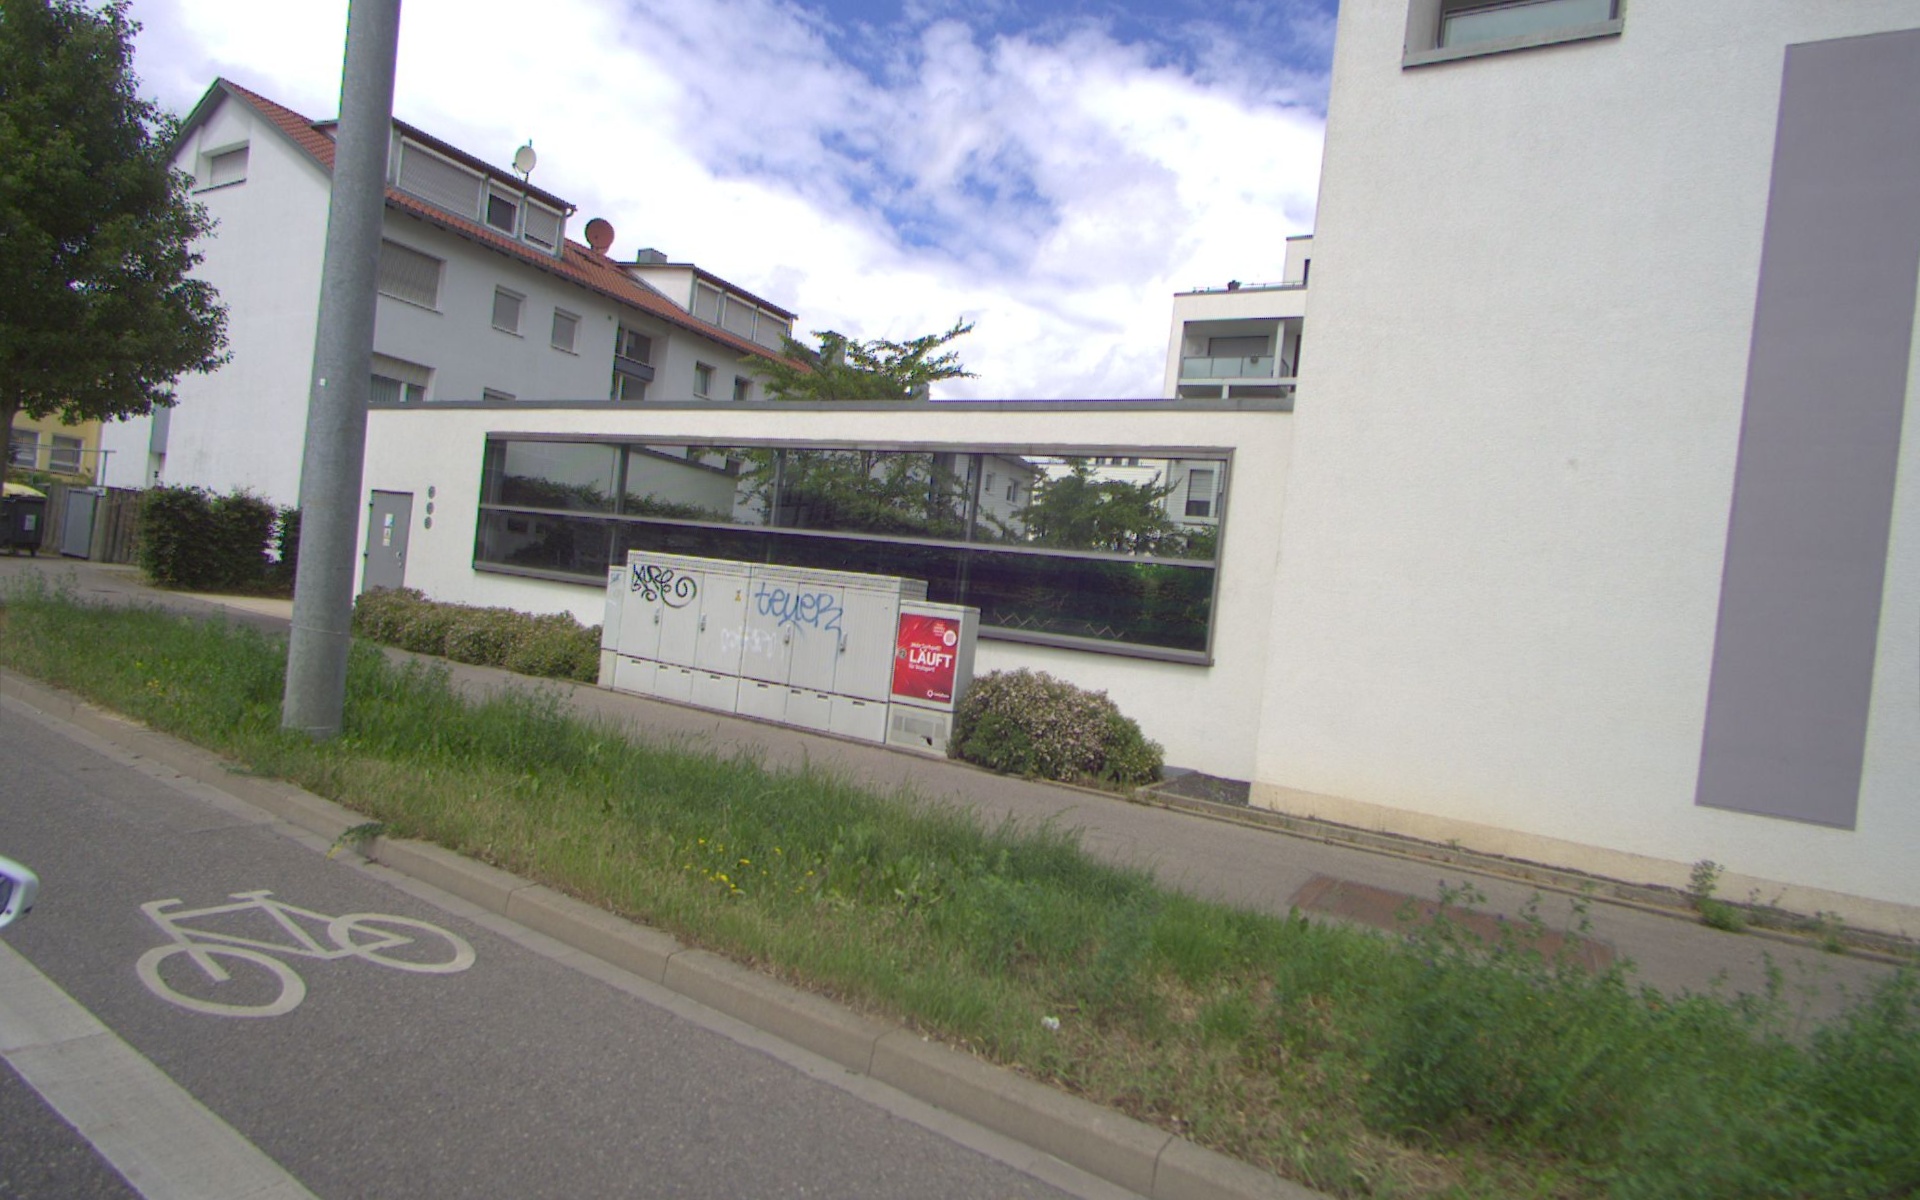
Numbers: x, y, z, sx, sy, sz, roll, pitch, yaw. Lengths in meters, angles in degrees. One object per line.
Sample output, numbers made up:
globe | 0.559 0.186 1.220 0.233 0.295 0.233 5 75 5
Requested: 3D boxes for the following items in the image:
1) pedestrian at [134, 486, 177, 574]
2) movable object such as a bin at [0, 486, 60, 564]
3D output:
pedestrian | -17.243 -1.494 21.553 0.505 1.785 0.495 8 -2 -43
movable object such as a bin | -19.383 -1.543 20.336 1.305 1.453 1.245 6 -1 -22
